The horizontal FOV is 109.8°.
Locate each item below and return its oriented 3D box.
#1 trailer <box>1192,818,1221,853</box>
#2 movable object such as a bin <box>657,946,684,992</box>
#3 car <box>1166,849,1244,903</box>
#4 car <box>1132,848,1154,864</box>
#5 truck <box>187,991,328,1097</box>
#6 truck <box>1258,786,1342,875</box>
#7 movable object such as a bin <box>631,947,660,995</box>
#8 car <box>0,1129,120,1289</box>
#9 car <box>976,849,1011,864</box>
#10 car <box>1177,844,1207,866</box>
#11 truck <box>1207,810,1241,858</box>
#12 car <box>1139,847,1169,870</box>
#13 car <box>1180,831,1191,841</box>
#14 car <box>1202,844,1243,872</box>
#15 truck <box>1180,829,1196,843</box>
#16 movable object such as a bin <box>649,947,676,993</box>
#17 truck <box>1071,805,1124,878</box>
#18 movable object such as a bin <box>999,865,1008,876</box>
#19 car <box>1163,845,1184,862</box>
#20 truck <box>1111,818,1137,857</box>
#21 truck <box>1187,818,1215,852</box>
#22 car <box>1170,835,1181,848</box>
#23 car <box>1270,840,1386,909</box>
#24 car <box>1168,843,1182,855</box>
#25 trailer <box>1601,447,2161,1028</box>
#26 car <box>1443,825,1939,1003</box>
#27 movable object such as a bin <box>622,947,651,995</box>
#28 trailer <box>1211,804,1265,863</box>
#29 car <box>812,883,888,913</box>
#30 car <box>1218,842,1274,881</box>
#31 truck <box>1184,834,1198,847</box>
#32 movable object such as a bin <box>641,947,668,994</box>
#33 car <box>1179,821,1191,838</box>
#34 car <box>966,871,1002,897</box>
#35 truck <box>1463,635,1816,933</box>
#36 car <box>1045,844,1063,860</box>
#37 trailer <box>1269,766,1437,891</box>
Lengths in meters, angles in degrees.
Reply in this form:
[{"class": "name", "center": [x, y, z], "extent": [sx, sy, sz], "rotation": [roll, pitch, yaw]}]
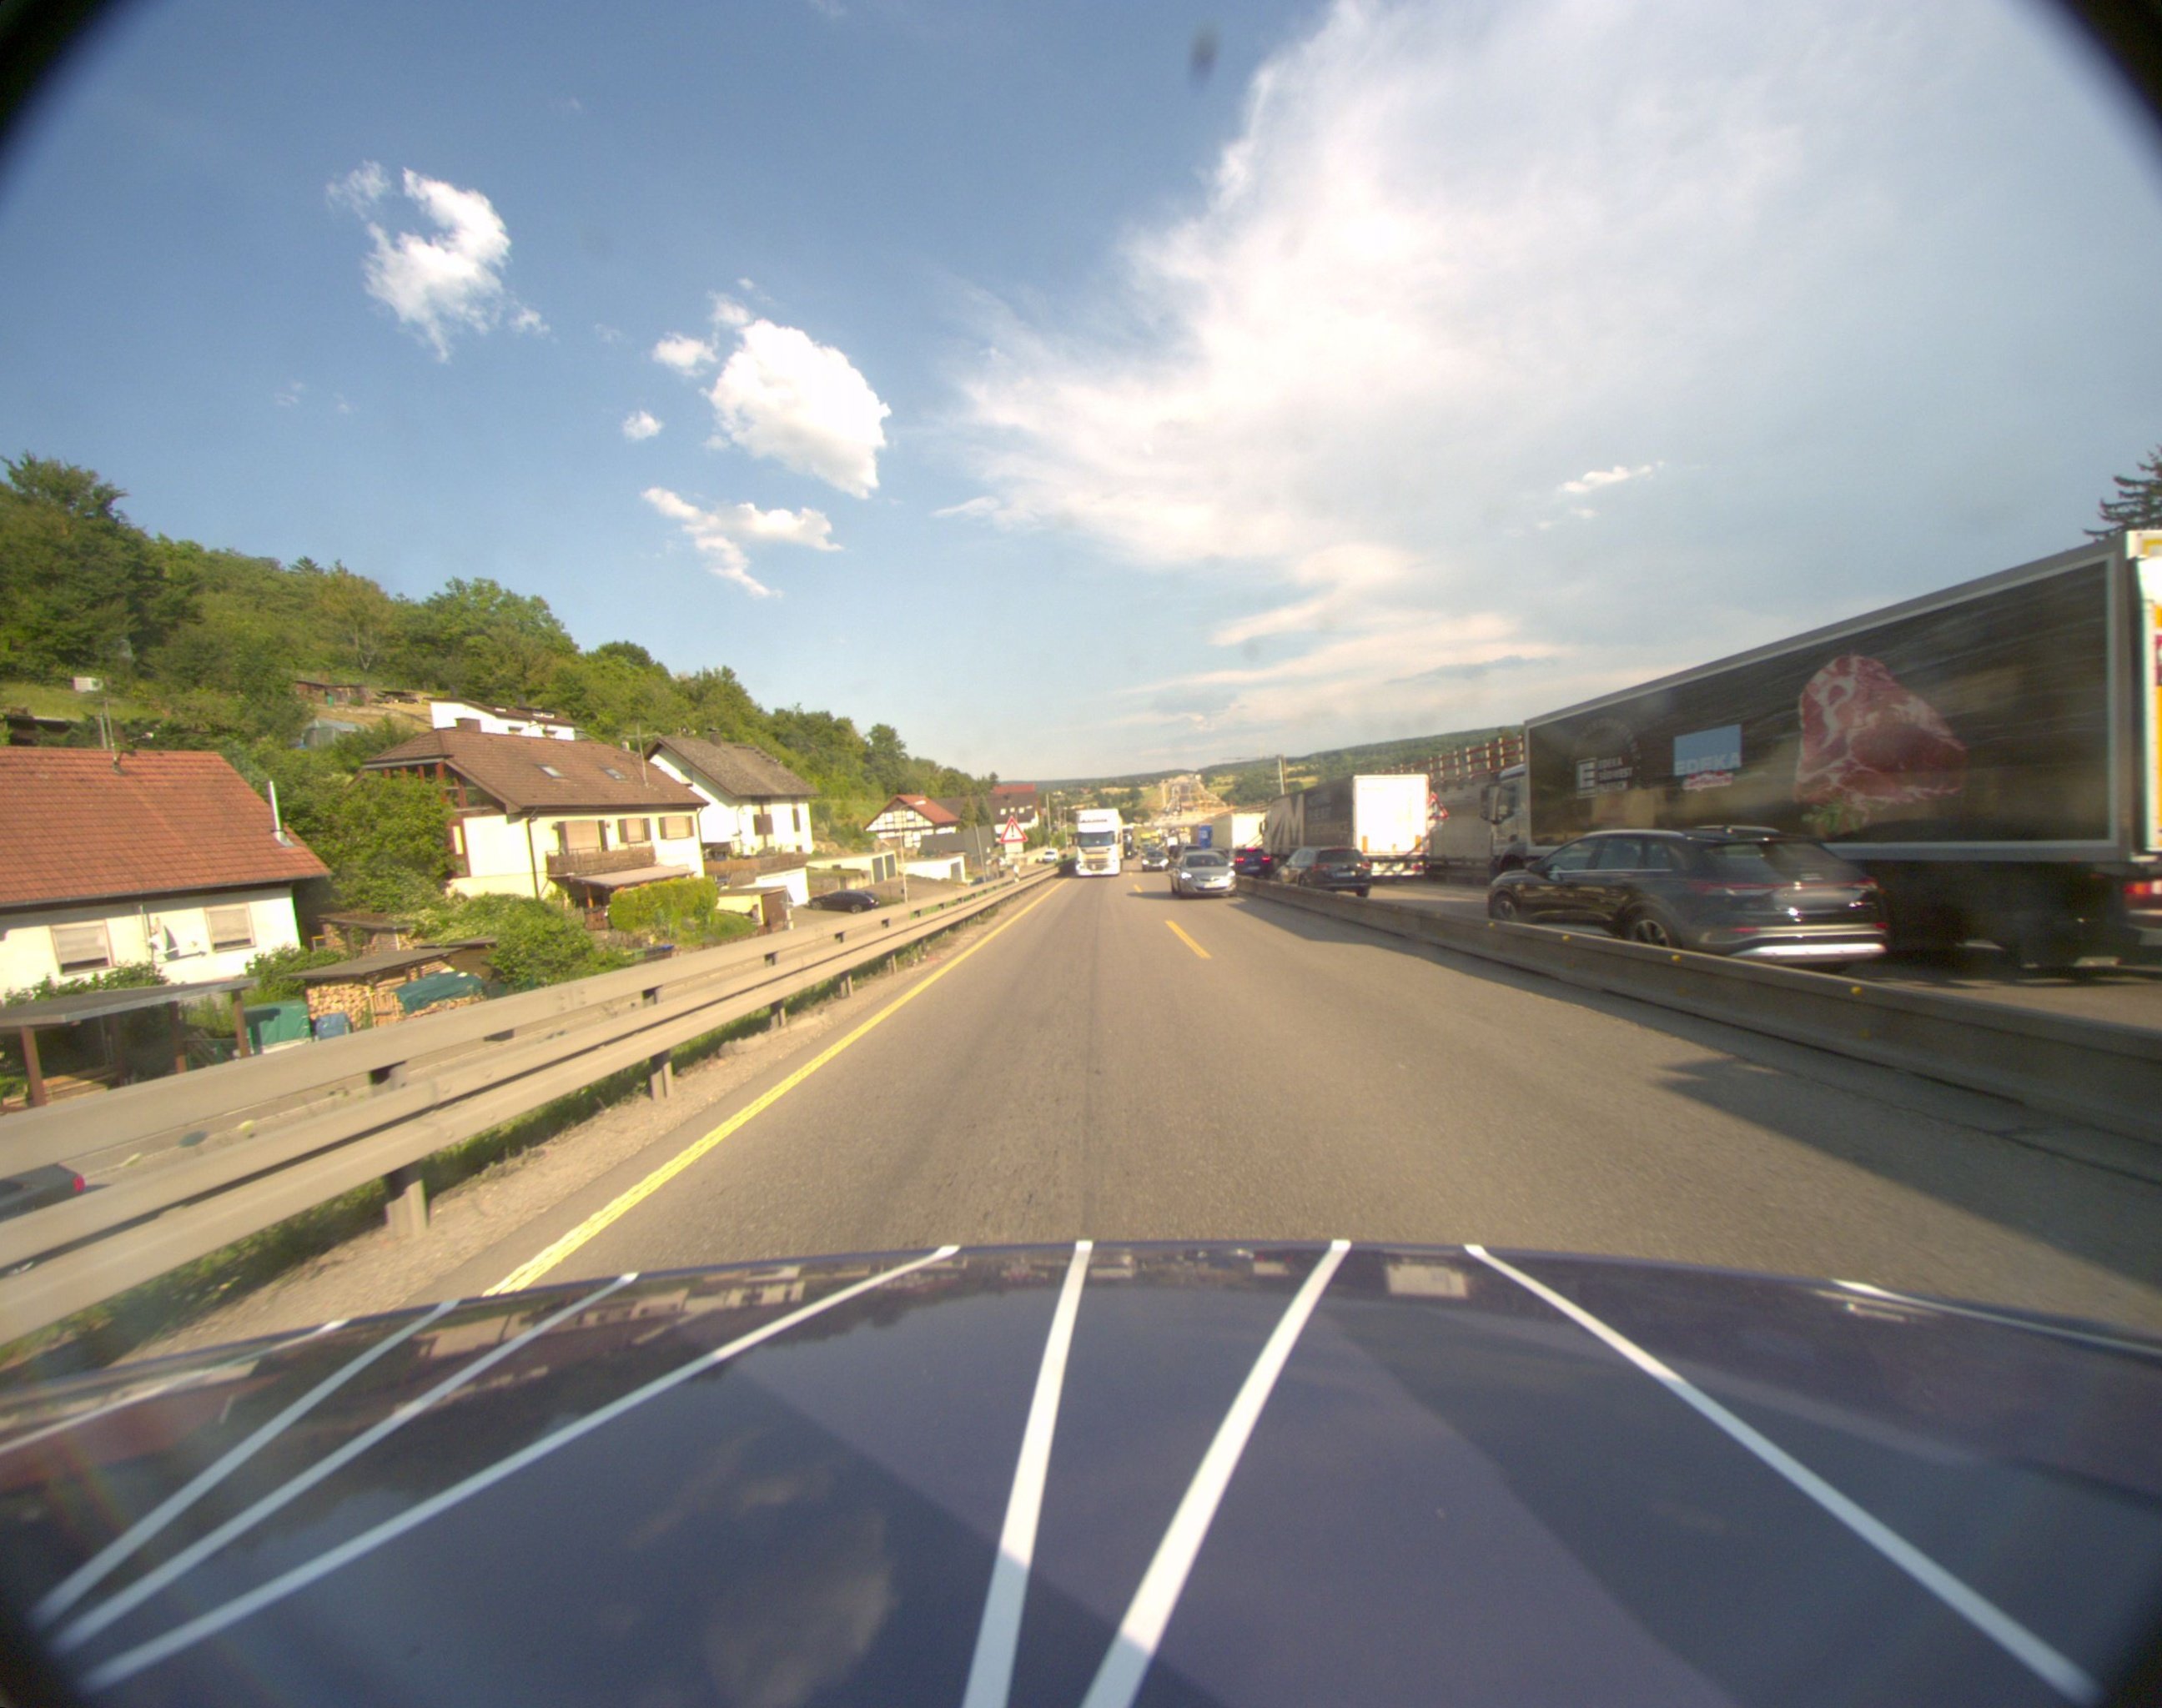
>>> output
[{"class": "trailer", "center": [15.508, -2.337, 94.484], "extent": [2.822, 4.082, 8.288], "rotation": [-2, 1, 5]}, {"class": "movable object such as a bin", "center": [-16.984, 4.751, 31.425], "extent": [0.490, 1.760, 0.414], "rotation": [-12, 1, 13]}, {"class": "car", "center": [3.904, 0.636, 24.591], "extent": [1.810, 1.478, 4.117], "rotation": [-3, 1, 1]}, {"class": "car", "center": [7.038, 0.210, 86.714], "extent": [1.999, 1.565, 3.998], "rotation": [-2, 1, -3]}, {"class": "truck", "center": [-22.325, 5.059, 20.783], "extent": [2.002, 1.729, 3.990], "rotation": [-12, 6, -42]}, {"class": "truck", "center": [11.297, -1.194, 39.708], "extent": [2.771, 4.179, 6.114], "rotation": [-2, 1, 2]}, {"class": "movable object such as a bin", "center": [-17.296, 4.647, 30.176], "extent": [0.536, 1.760, 0.409], "rotation": [-12, 1, 13]}, {"class": "car", "center": [-16.309, 5.309, 9.740], "extent": [1.866, 1.775, 4.499], "rotation": [-3, 2, 9]}, {"class": "car", "center": [-10.709, 0.287, 92.875], "extent": [3.995, 1.829, 1.750], "rotation": [0, 3, 6]}, {"class": "car", "center": [9.731, 0.074, 66.979], "extent": [2.012, 1.645, 4.974], "rotation": [-4, 2, 3]}, {"class": "truck", "center": [13.449, -1.905, 71.838], "extent": [2.461, 4.292, 5.474], "rotation": [-2, 2, 4]}, {"class": "car", "center": [4.901, 0.268, 51.363], "extent": [1.822, 1.433, 4.001], "rotation": [-3, 0, 4]}, {"class": "car", "center": [23.033, -4.028, 167.586], "extent": [2.214, 2.011, 3.974], "rotation": [-5, 1, 6]}, {"class": "car", "center": [8.820, 0.215, 47.650], "extent": [1.779, 1.448, 4.813], "rotation": [-3, 2, 2]}, {"class": "truck", "center": [25.481, -4.261, 180.667], "extent": [3.241, 3.128, 6.490], "rotation": [-2, 1, 4]}, {"class": "movable object such as a bin", "center": [-17.074, 4.715, 31.007], "extent": [0.490, 1.760, 0.414], "rotation": [-12, 1, 13]}, {"class": "truck", "center": [1.289, -0.887, 49.909], "extent": [2.892, 4.059, 13.893], "rotation": [-2, 1, 3]}, {"class": "movable object such as a bin", "center": [-8.042, 1.723, 79.145], "extent": [0.723, 0.995, 0.677], "rotation": [-4, 2, 5]}, {"class": "car", "center": [10.388, -0.094, 85.200], "extent": [1.885, 1.598, 4.731], "rotation": [-4, 2, 3]}, {"class": "truck", "center": [5.298, -1.924, 94.157], "extent": [2.788, 4.505, 7.191], "rotation": [-4, 0, 4]}, {"class": "truck", "center": [16.307, -2.580, 103.882], "extent": [2.822, 4.234, 10.582], "rotation": [-2, 1, 5]}, {"class": "car", "center": [19.200, -2.476, 153.875], "extent": [2.000, 2.601, 5.615], "rotation": [-1, 1, 5]}, {"class": "car", "center": [7.038, 0.498, 22.198], "extent": [1.867, 1.577, 4.745], "rotation": [-5, 2, 2]}, {"class": "car", "center": [13.448, -0.736, 108.891], "extent": [1.703, 1.567, 4.370], "rotation": [-2, 1, 5]}, {"class": "trailer", "center": [9.798, -0.984, 8.615], "extent": [2.918, 4.440, 7.151], "rotation": [-3, 1, 1]}, {"class": "car", "center": [6.748, 0.492, 9.500], "extent": [1.881, 1.596, 5.367], "rotation": [0, 1, 0]}, {"class": "movable object such as a bin", "center": [-17.414, 4.590, 29.756], "extent": [0.530, 1.760, 0.416], "rotation": [-12, 1, 13]}, {"class": "trailer", "center": [12.912, -1.705, 63.631], "extent": [2.461, 4.295, 13.775], "rotation": [-2, 1, 4]}, {"class": "car", "center": [-15.800, 2.993, 52.119], "extent": [4.501, 1.517, 2.000], "rotation": [4, 4, 9]}, {"class": "car", "center": [7.830, 0.300, 36.394], "extent": [1.771, 1.542, 4.478], "rotation": [-3, 2, 2]}, {"class": "truck", "center": [21.005, -2.596, 144.971], "extent": [2.279, 2.288, 6.065], "rotation": [-5, 1, 6]}, {"class": "movable object such as a bin", "center": [-17.183, 4.704, 30.605], "extent": [0.490, 1.760, 0.414], "rotation": [-12, 1, 13]}, {"class": "car", "center": [33.465, -7.781, 244.672], "extent": [3.326, 5.357, 14.302], "rotation": [-1, 1, 7]}, {"class": "car", "center": [-8.008, 2.449, 62.838], "extent": [1.771, 1.589, 3.618], "rotation": [-9, 1, 9]}, {"class": "truck", "center": [9.930, -1.115, 14.291], "extent": [2.927, 4.489, 5.027], "rotation": [-2, 1, 1]}, {"class": "car", "center": [-3.659, -0.261, 102.788], "extent": [1.824, 1.931, 4.284], "rotation": [-3, 3, 4]}, {"class": "trailer", "center": [11.018, -1.032, 32.864], "extent": [2.782, 4.179, 13.832], "rotation": [-2, 1, 2]}]
